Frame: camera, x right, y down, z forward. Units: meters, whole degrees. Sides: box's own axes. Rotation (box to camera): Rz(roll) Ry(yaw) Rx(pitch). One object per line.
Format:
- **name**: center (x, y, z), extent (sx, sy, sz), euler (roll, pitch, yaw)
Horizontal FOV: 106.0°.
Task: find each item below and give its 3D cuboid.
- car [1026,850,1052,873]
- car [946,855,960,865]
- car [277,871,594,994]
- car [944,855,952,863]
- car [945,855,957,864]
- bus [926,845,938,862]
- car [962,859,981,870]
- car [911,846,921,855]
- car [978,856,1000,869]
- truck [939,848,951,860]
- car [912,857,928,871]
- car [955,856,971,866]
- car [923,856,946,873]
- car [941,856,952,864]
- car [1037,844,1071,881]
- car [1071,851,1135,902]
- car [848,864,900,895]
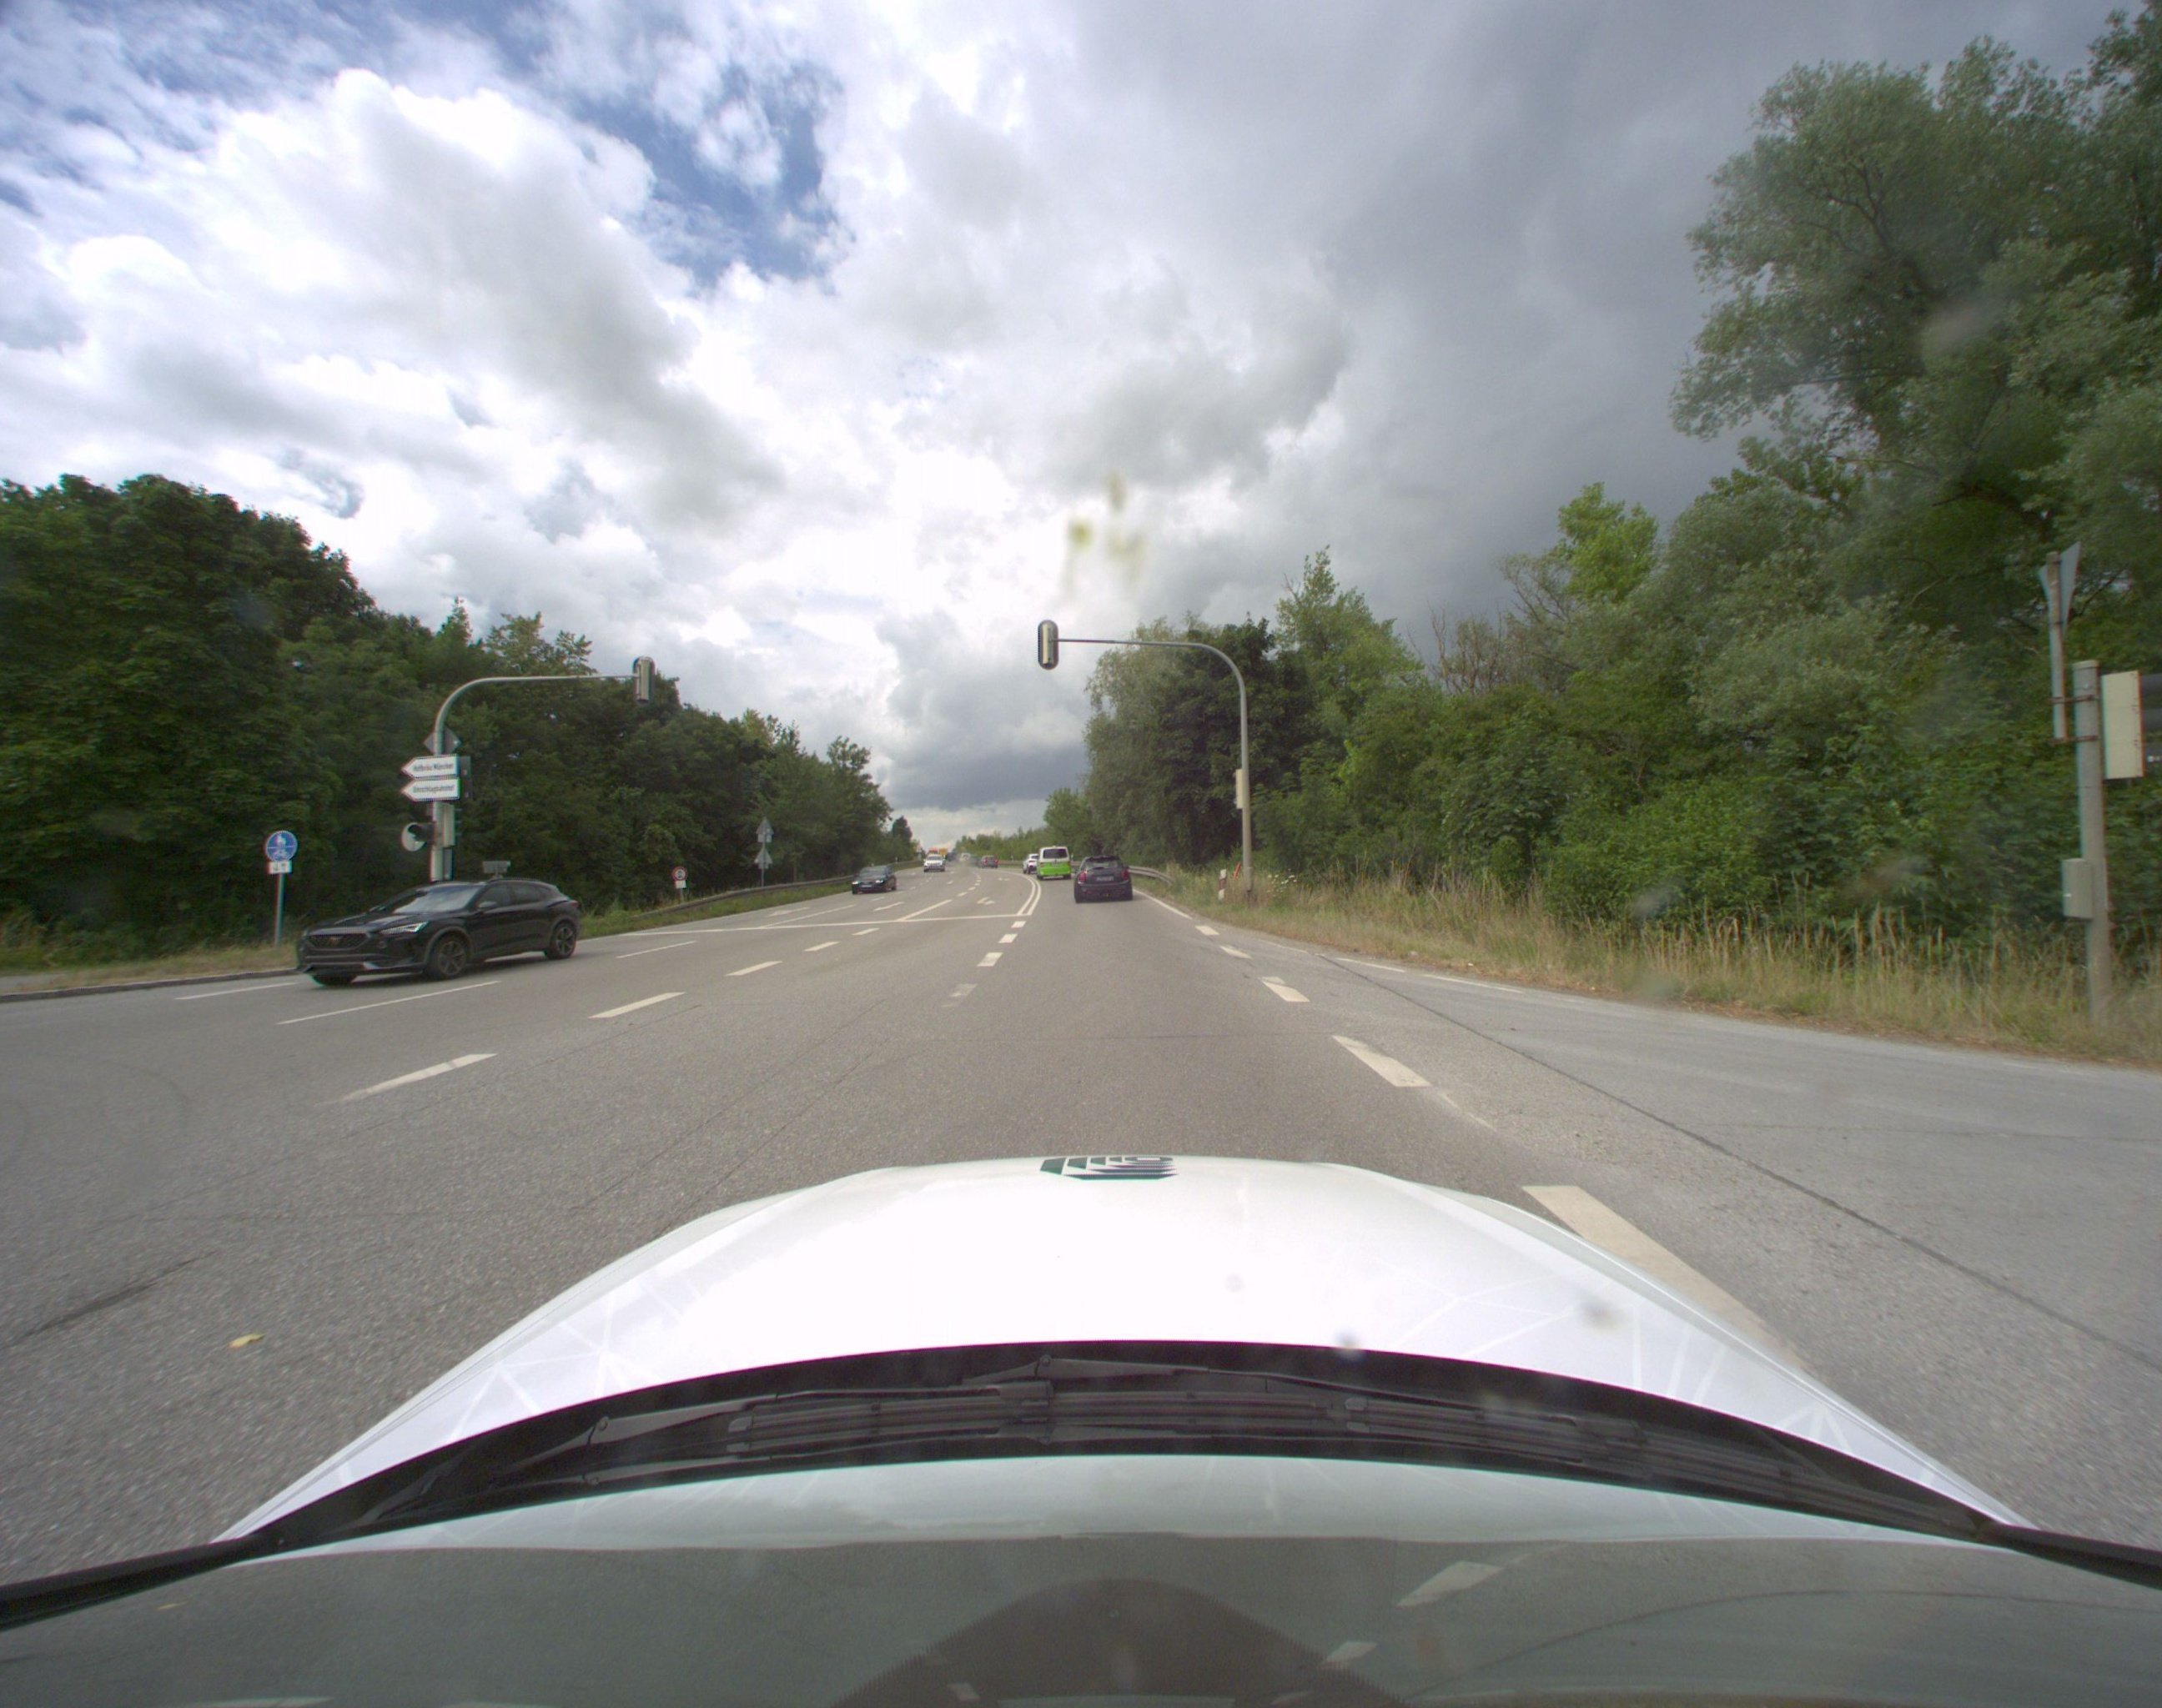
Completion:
- **car**: center (-3.349, 0.594, 64.346), extent (1.990, 1.684, 3.994), euler (-2, -1, -4)
- **car**: center (-22.088, 0.981, 140.598), extent (1.997, 1.696, 4.463), euler (0, -1, -15)
- **car**: center (-10.141, 1.121, 13.303), extent (1.756, 1.583, 4.202), euler (-3, -1, 0)
- **car**: center (-32.603, 1.237, 199.501), extent (1.994, 1.787, 4.470), euler (-1, -1, -10)
- **car**: center (-25.458, 1.068, 159.740), extent (1.996, 1.696, 4.465), euler (0, -1, -13)
- **bus**: center (-30.042, -0.037, 163.677), extent (1.996, 3.302, 7.395), euler (-1, 0, -13)
- **car**: center (-14.730, 1.404, 109.173), extent (1.997, 1.476, 4.461), euler (0, -1, -15)
- **car**: center (-38.082, -0.835, 187.681), extent (1.993, 2.013, 3.987), euler (-1, 0, -10)
- **car**: center (-10.705, 0.973, 94.504), extent (1.996, 1.476, 4.464), euler (0, -1, -14)
- **truck**: center (-35.628, -0.004, 213.806), extent (2.714, 2.898, 8.748), euler (0, -3, -7)
- **car**: center (-20.997, 1.323, 106.425), extent (1.994, 1.690, 3.986), euler (-1, 0, -11)
- **car**: center (-17.884, 1.116, 123.285), extent (1.996, 1.476, 4.465), euler (0, -1, -13)
- **car**: center (-14.770, 1.059, 82.319), extent (1.992, 1.613, 3.990), euler (-1, 0, -7)
- **car**: center (-29.760, 1.309, 179.961), extent (1.997, 1.696, 4.462), euler (0, -1, -15)
- **car**: center (-1.653, 0.457, 49.041), extent (1.841, 1.986, 3.836), euler (-1, 3, -4)
- **car**: center (0.709, 0.691, 26.025), extent (1.838, 1.428, 3.842), euler (-2, -1, 2)
- **car**: center (-11.031, 1.322, 43.756), extent (1.733, 1.405, 4.248), euler (-3, 0, -2)
